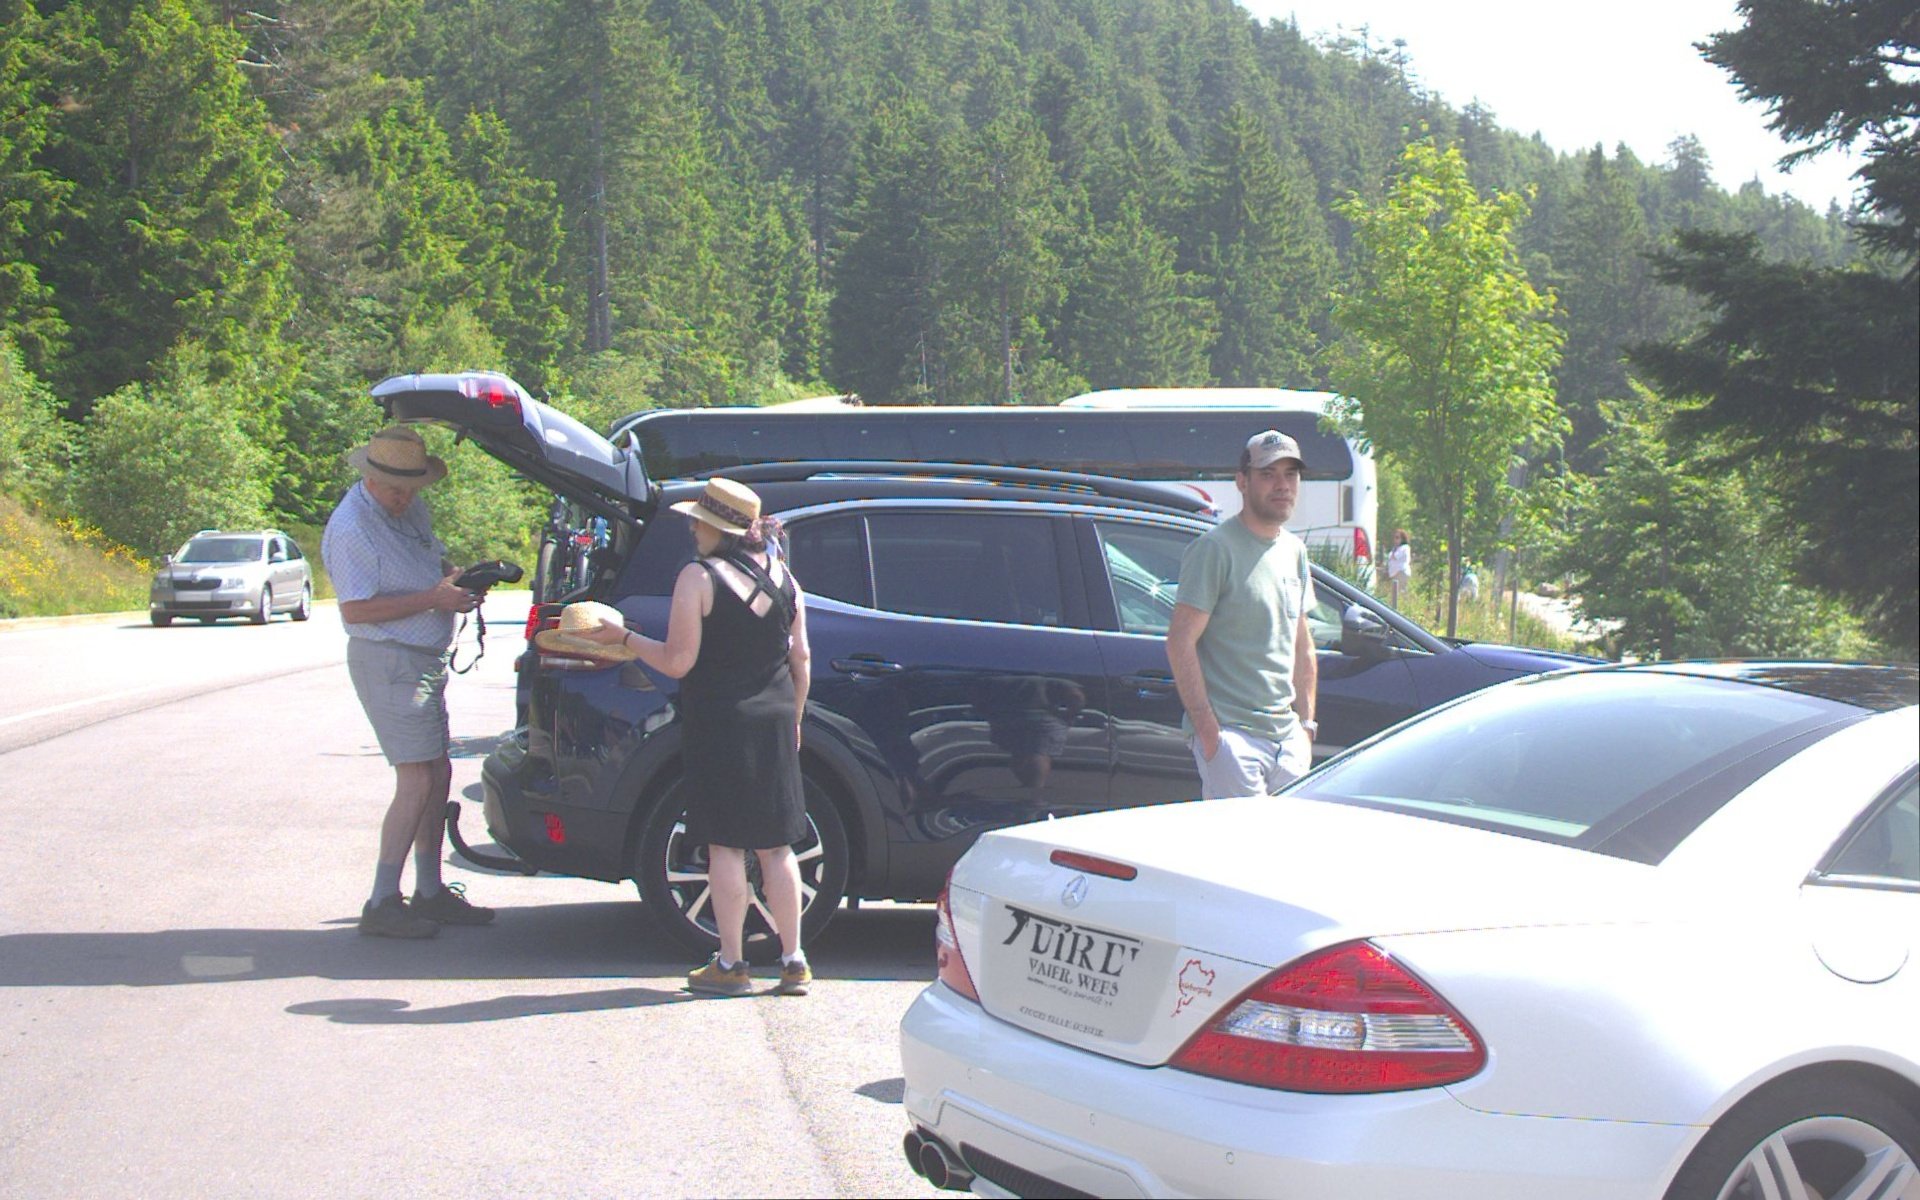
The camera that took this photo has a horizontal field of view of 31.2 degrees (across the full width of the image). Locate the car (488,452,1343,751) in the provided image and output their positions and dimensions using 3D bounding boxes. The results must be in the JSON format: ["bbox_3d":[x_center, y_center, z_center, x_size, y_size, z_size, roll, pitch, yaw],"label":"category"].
[{"bbox_3d":[-0.262,-0.018,20.934,4.949,1.690,1.945,-1,1,-1],"label":"car"}]

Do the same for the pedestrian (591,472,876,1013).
[{"bbox_3d":[-0.703,0.425,10.606,0.714,1.607,0.537,1,0,-23],"label":"pedestrian"}]

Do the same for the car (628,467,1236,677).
[{"bbox_3d":[-0.272,-0.262,29.622,5.033,1.645,2.048,-1,1,-3],"label":"car"}]

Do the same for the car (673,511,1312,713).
[{"bbox_3d":[0.181,0.055,23.841,4.243,1.264,1.838,-1,1,-3],"label":"car"}]

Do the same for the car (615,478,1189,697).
[{"bbox_3d":[-0.466,-0.122,26.497,4.243,1.548,1.838,-1,1,-3],"label":"car"}]

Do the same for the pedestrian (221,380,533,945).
[{"bbox_3d":[-2.014,0.183,11.905,0.736,1.864,0.757,3,4,27],"label":"pedestrian"}]

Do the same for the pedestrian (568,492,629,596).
[{"bbox_3d":[-5.583,-0.868,53.125,0.770,1.579,0.772,-1,1,4],"label":"pedestrian"}]

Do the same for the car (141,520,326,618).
[{"bbox_3d":[-11.390,-0.518,54.201,1.879,1.469,4.714,0,1,1],"label":"car"}]

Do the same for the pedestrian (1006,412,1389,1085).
[{"bbox_3d":[0.662,0.393,9.666,0.746,1.794,0.736,1,0,-35],"label":"pedestrian"}]

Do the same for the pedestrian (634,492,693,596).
[{"bbox_3d":[-4.575,-0.865,53.088,0.770,1.579,0.772,-1,1,4],"label":"pedestrian"}]

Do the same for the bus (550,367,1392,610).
[{"bbox_3d":[0.264,-1.748,54.866,13.097,3.520,3.043,-1,1,8],"label":"bus"}]

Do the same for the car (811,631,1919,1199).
[{"bbox_3d":[2.090,0.797,6.770,4.397,1.291,1.756,2,2,-26],"label":"car"}]

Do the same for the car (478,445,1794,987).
[{"bbox_3d":[0.507,0.393,12.267,4.343,1.620,1.870,3,0,-8],"label":"car"}]
